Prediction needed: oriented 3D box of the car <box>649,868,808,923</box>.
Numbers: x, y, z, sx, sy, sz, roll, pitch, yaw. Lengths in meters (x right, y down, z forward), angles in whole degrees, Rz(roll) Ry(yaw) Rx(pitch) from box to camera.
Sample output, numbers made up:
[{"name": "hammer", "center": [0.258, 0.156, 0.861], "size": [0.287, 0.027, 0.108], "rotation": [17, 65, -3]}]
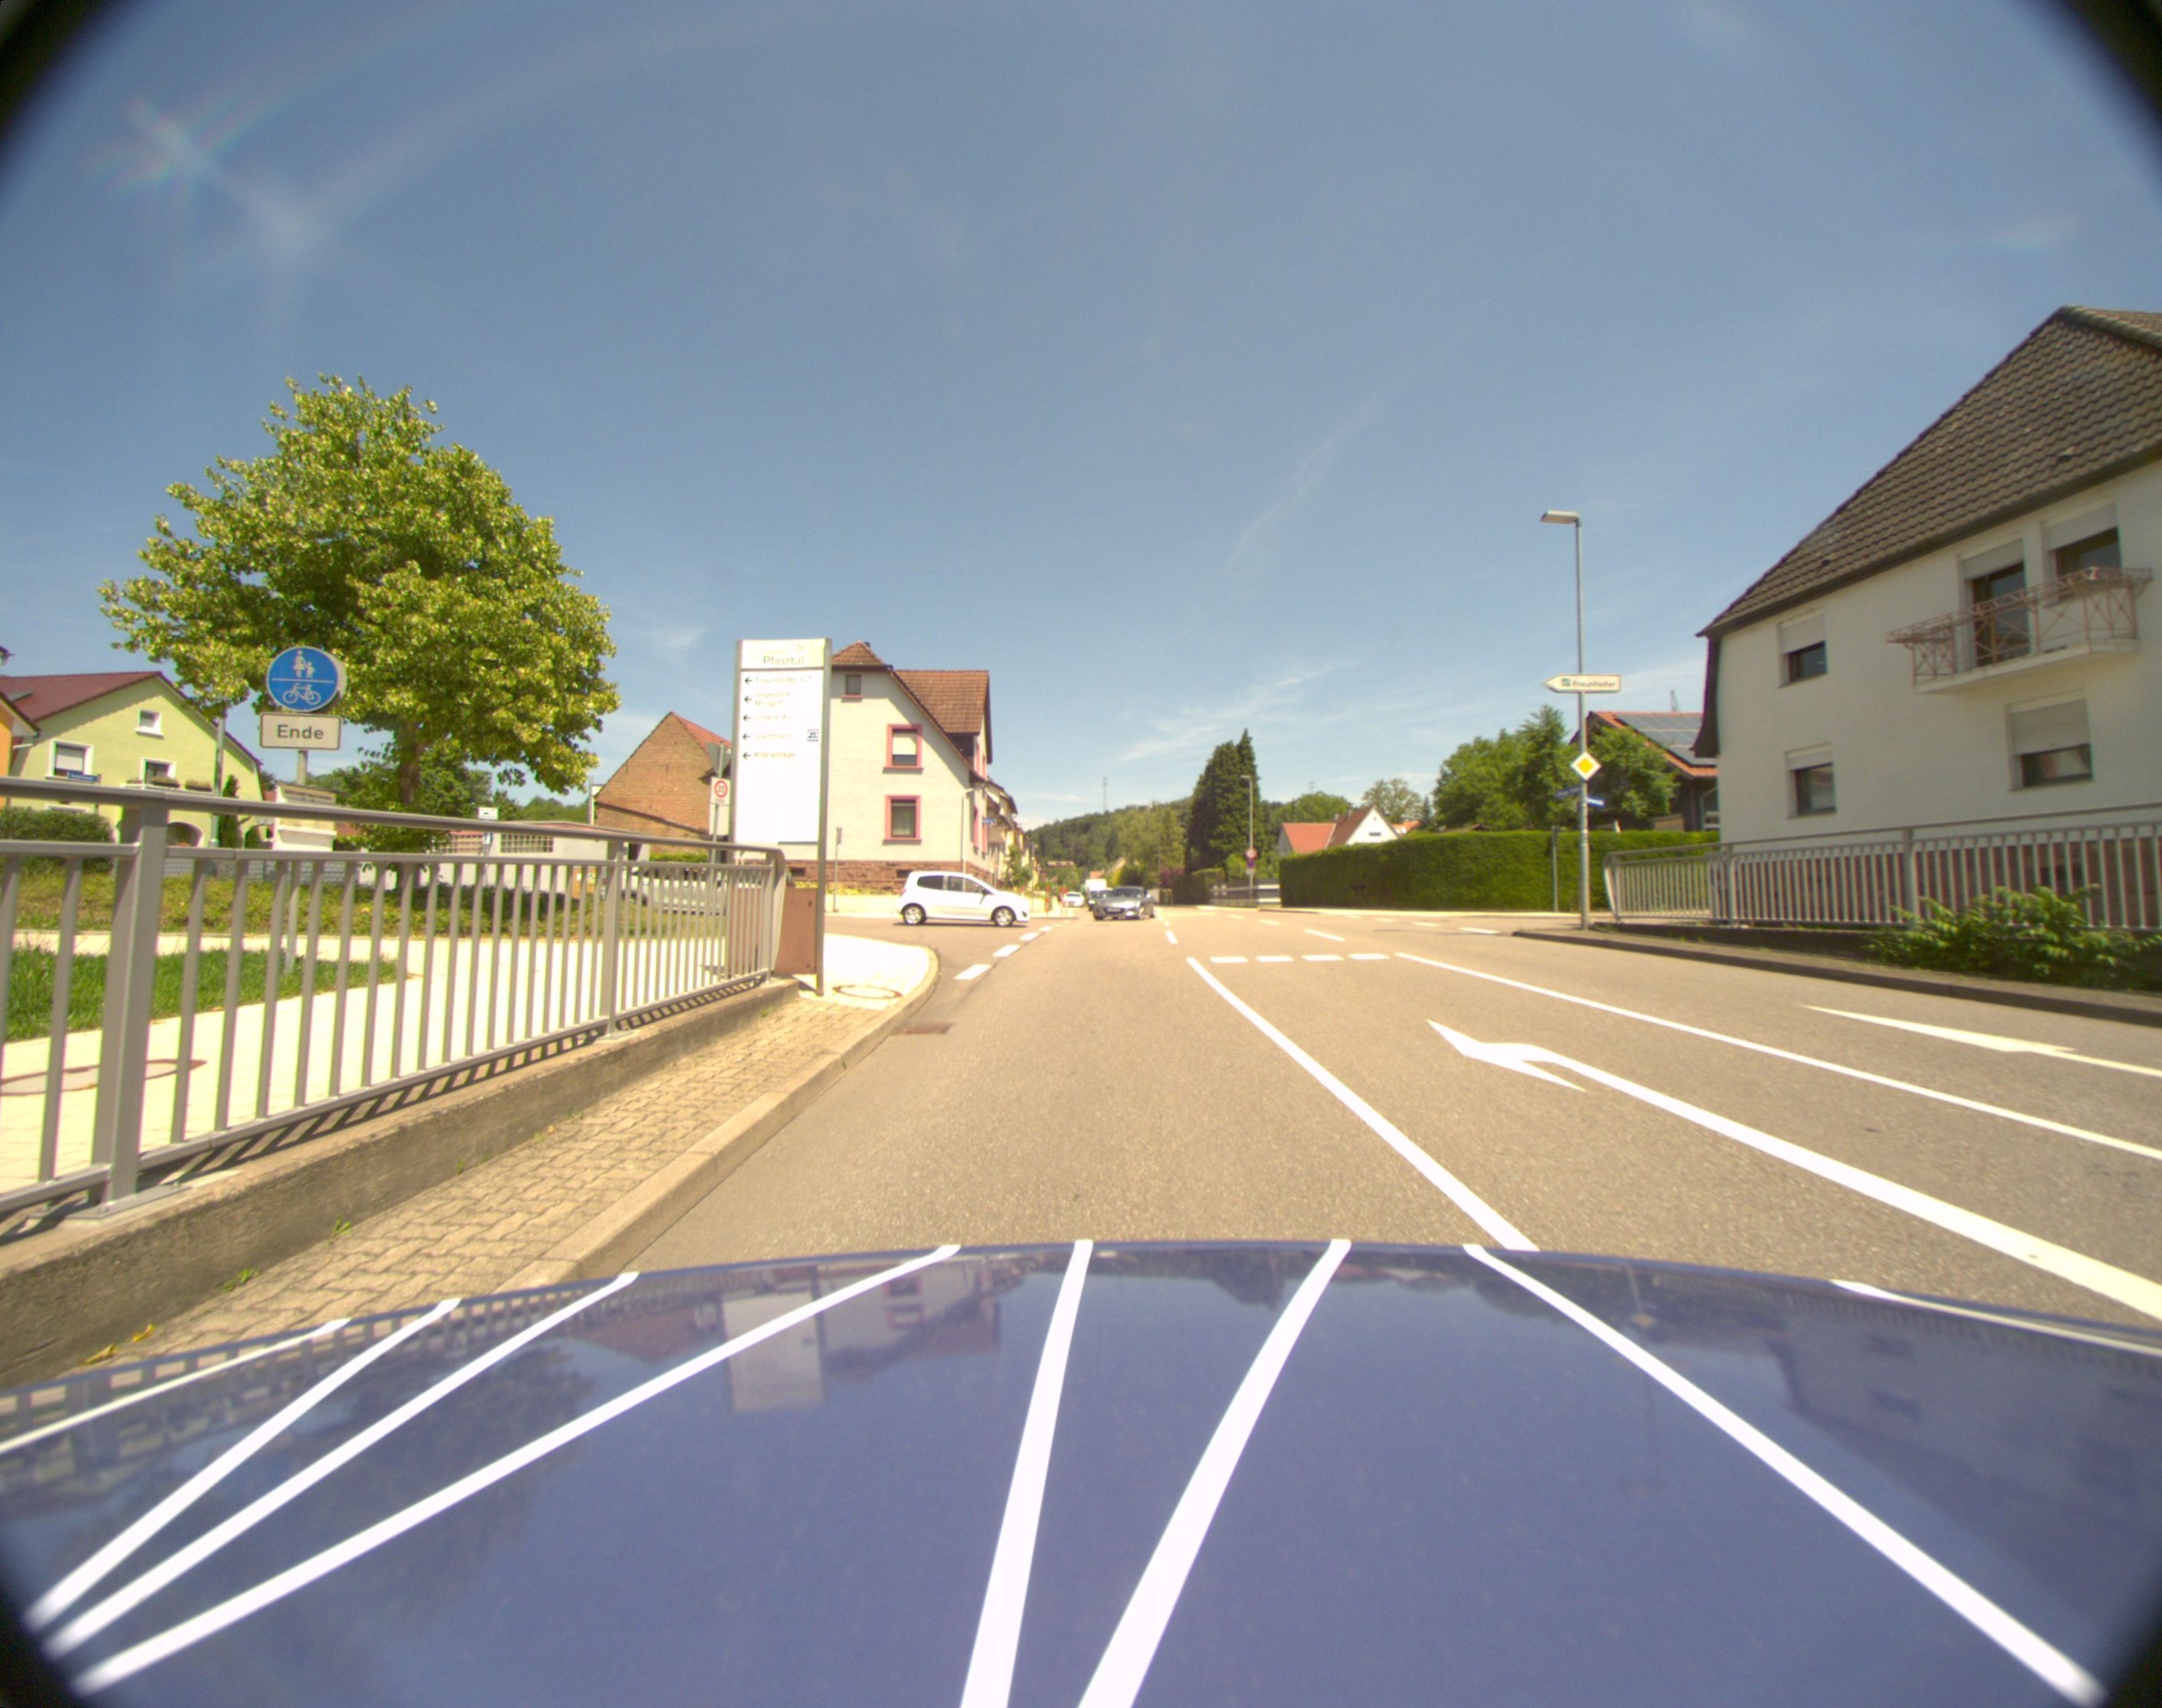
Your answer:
[{"name": "car", "center": [-10.937, 1.289, 23.870], "size": [4.157, 1.579, 1.869], "rotation": [0, -3, -10]}]

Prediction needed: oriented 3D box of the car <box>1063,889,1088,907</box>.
[{"name": "car", "center": [-0.474, 4.094, 71.056], "size": [1.998, 1.509, 4.147], "rotation": [4, -3, 4]}]

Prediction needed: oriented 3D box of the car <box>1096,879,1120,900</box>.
[{"name": "car", "center": [2.590, 3.468, 74.645], "size": [1.999, 2.001, 4.549], "rotation": [-2, -2, -1]}]

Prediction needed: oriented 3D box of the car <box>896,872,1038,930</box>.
[{"name": "car", "center": [-3.086, 1.273, 20.952], "size": [3.681, 1.469, 1.775], "rotation": [1, -2, -6]}]

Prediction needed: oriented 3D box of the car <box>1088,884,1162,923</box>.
[{"name": "car", "center": [1.730, 1.833, 28.606], "size": [1.908, 1.296, 4.163], "rotation": [-3, -3, 15]}]

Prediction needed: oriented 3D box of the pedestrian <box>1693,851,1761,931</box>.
[{"name": "pedestrian", "center": [14.353, 0.813, 16.894], "size": [0.729, 1.719, 0.856], "rotation": [-2, 0, -3]}]

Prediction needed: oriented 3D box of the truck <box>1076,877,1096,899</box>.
[{"name": "truck", "center": [0.817, 5.708, 126.578], "size": [3.149, 3.464, 8.276], "rotation": [-1, -3, -1]}]

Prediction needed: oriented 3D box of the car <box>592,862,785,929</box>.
[{"name": "car", "center": [-9.873, 1.077, 19.498], "size": [4.131, 1.526, 1.773], "rotation": [3, -2, -21]}]

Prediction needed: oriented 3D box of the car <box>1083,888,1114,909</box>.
[{"name": "car", "center": [1.234, 3.243, 55.084], "size": [1.865, 1.440, 4.001], "rotation": [-1, -3, -4]}]

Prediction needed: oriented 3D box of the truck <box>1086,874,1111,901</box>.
[{"name": "truck", "center": [2.356, 4.484, 100.715], "size": [3.149, 3.465, 8.276], "rotation": [-1, -3, 1]}]
